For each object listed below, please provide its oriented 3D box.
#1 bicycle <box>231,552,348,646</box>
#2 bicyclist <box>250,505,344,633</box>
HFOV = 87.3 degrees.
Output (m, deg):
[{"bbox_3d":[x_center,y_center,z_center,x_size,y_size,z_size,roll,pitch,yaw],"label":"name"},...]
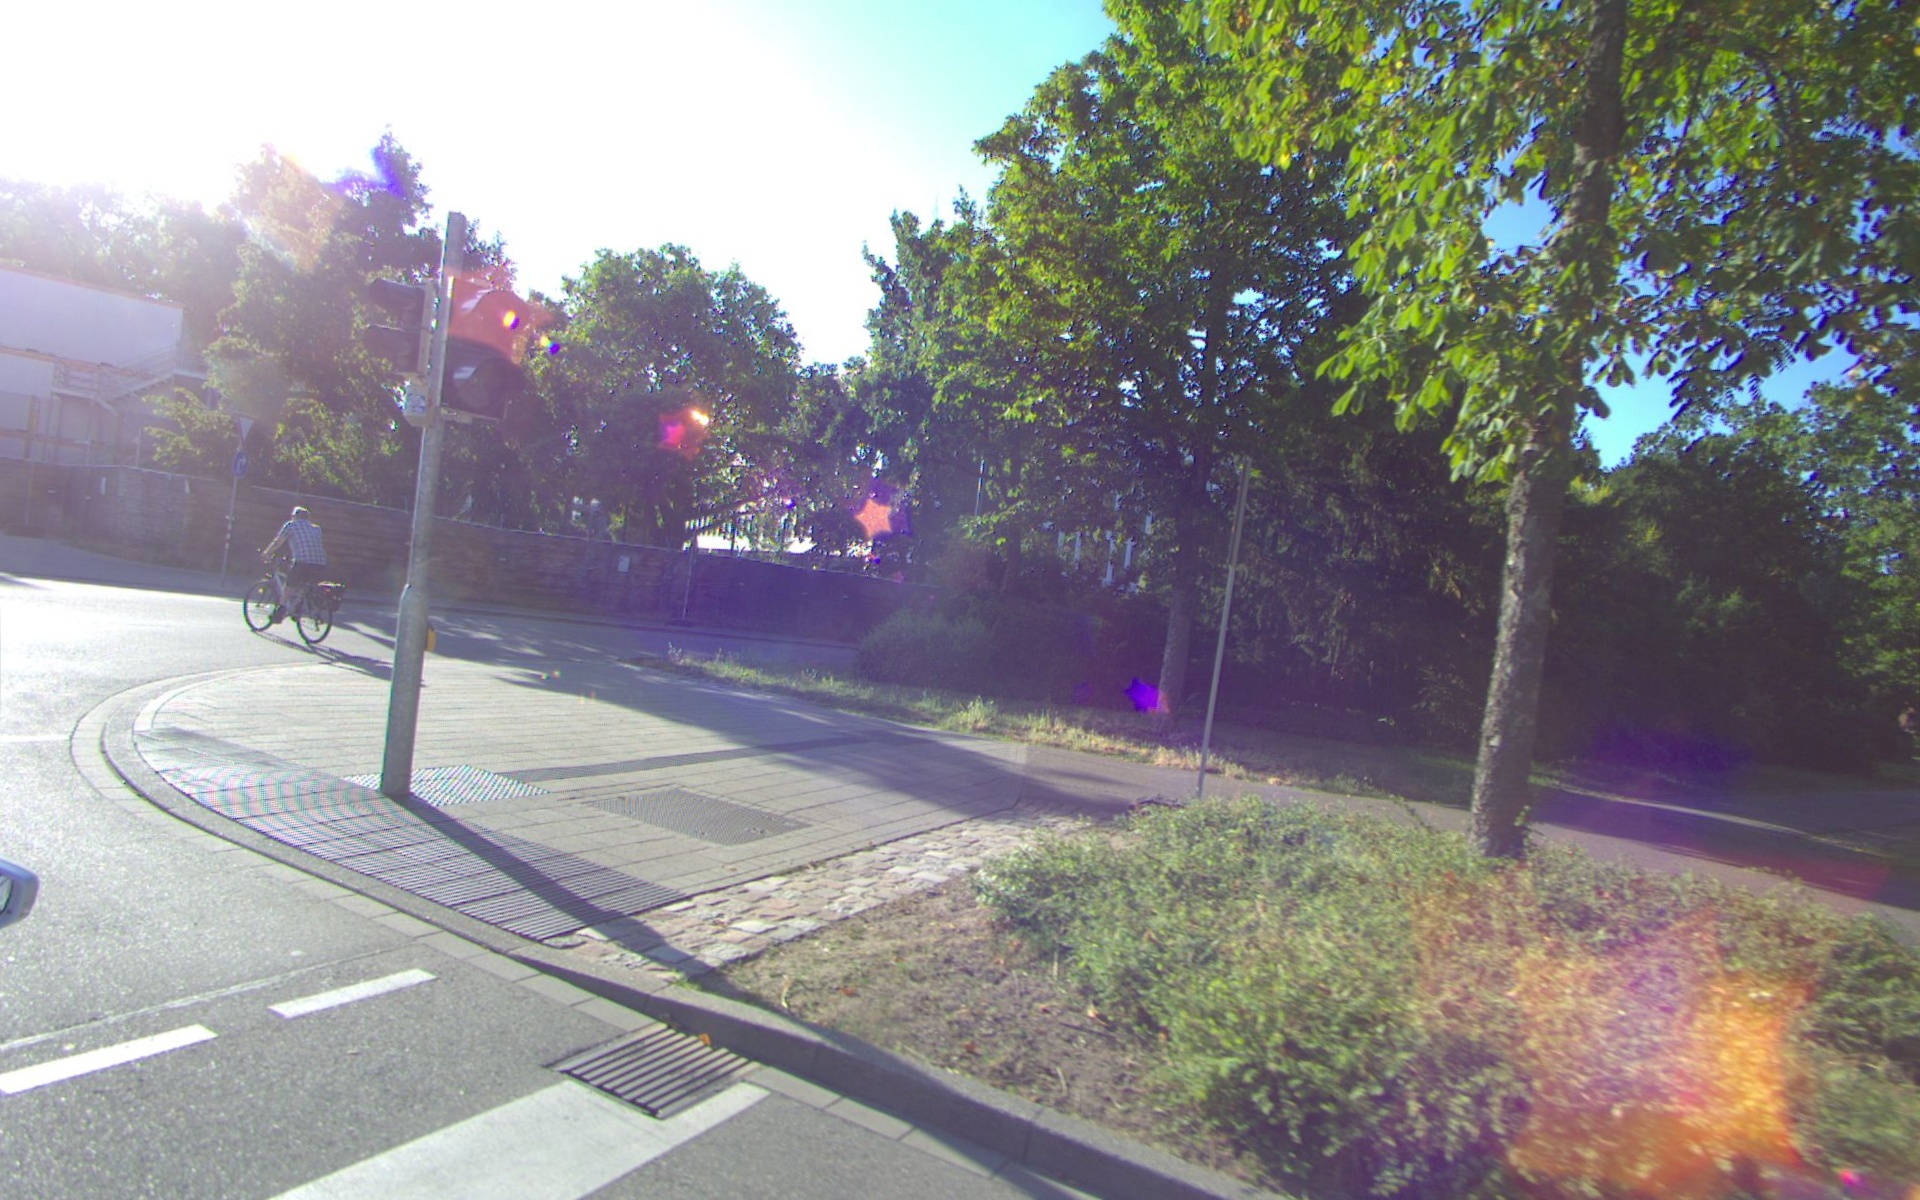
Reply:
[{"bbox_3d":[-9.304,-0.028,13.933,1.878,1.074,0.428,7,0,28],"label":"bicycle"},{"bbox_3d":[-9.173,-0.425,13.928,0.887,1.634,0.585,7,1,27],"label":"bicyclist"}]
